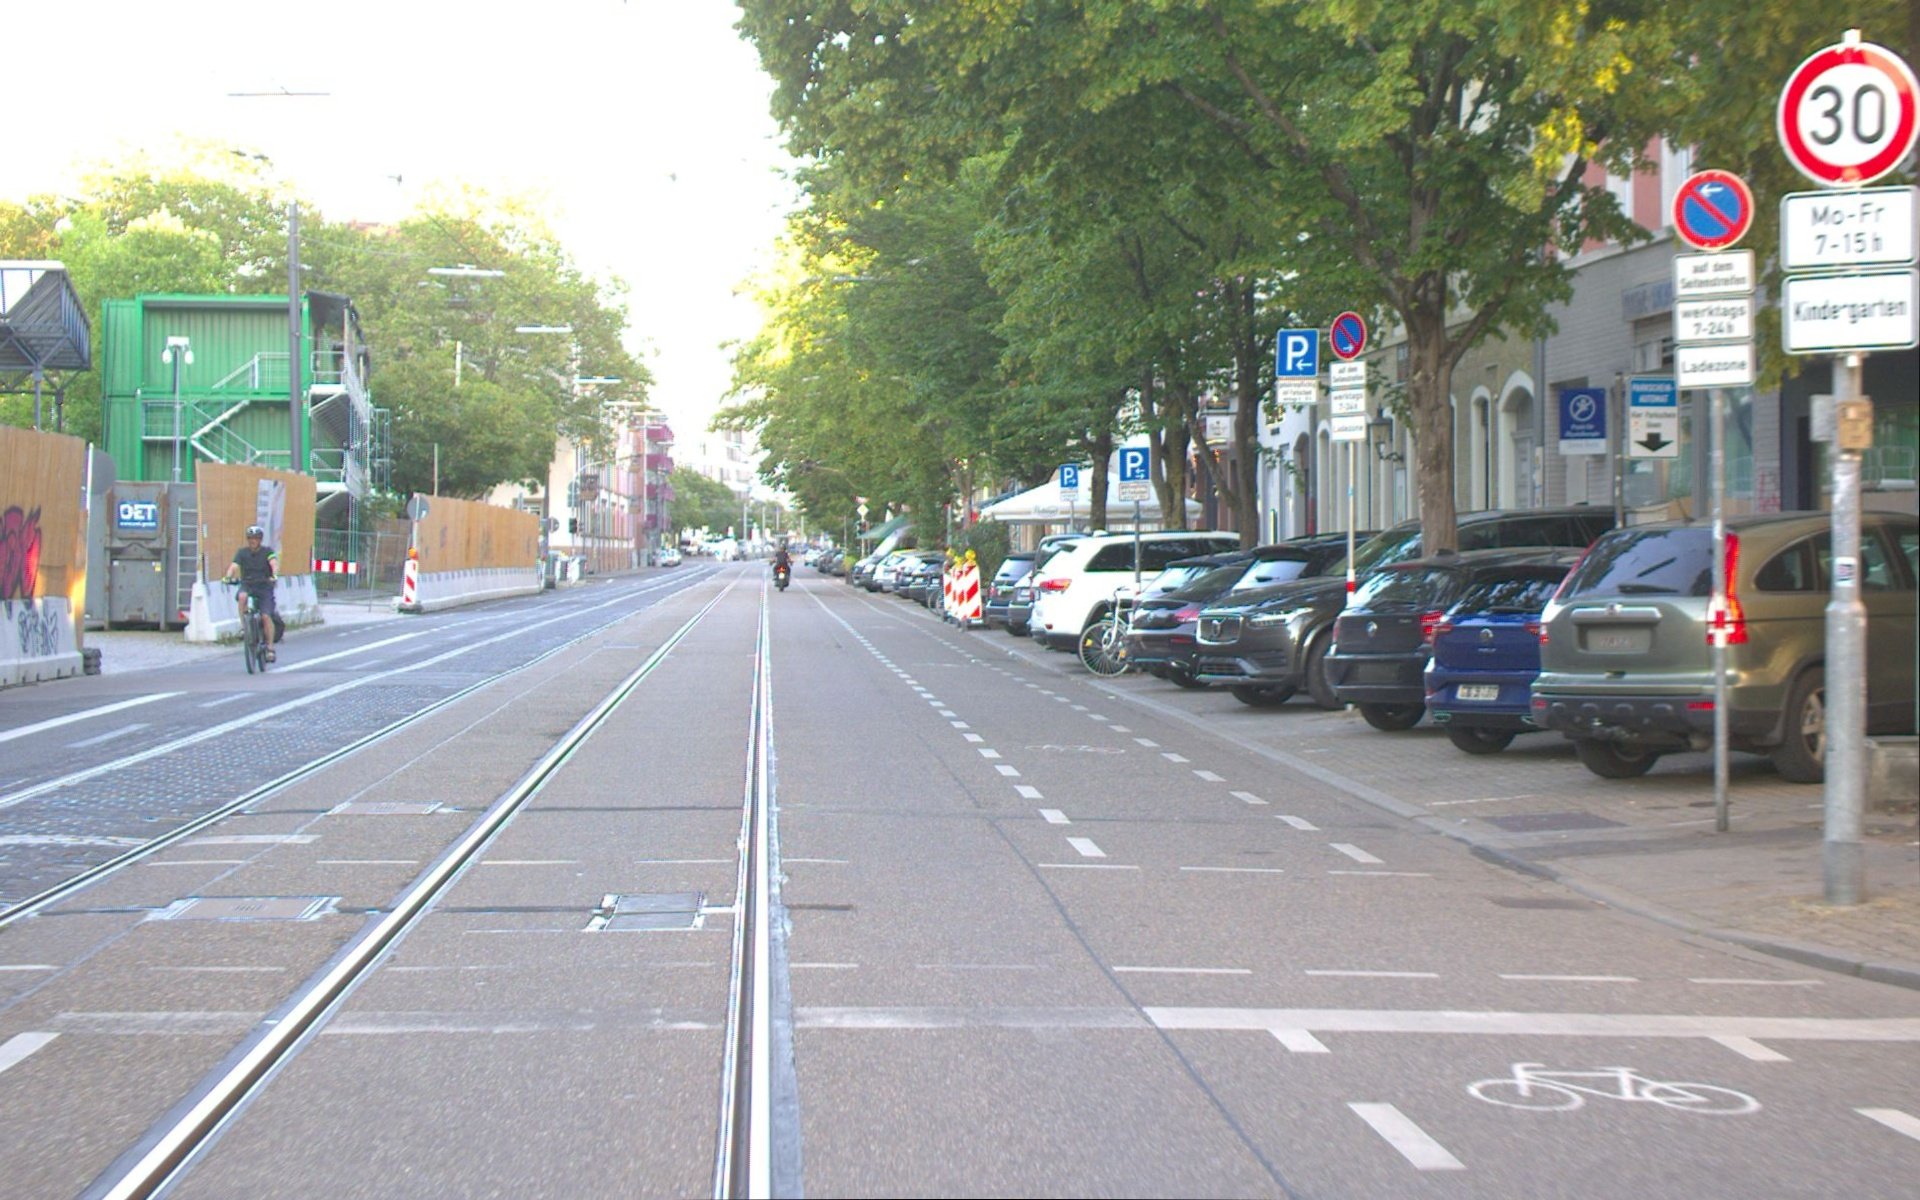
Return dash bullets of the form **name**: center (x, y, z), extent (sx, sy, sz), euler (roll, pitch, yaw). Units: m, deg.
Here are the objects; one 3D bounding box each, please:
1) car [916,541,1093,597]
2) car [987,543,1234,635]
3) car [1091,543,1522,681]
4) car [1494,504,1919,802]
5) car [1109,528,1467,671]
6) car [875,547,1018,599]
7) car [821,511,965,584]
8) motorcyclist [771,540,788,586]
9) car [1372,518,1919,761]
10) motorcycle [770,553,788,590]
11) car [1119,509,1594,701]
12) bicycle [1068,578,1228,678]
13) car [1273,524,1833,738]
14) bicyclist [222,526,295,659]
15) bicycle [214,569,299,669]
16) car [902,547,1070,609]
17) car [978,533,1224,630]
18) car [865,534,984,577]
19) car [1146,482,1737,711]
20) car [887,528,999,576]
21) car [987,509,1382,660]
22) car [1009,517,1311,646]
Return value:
- **car**: center (1.137, -0.799, 88.443), extent (4.160, 1.421, 1.824), euler (0, 1, -22)
- **car**: center (2.536, -0.193, 57.877), extent (3.772, 1.403, 1.706), euler (-2, 1, -28)
- **car**: center (3.746, 0.099, 37.180), extent (4.211, 1.422, 1.976), euler (0, 1, -25)
- **car**: center (5.598, 0.257, 22.133), extent (4.156, 1.658, 1.842), euler (-4, 2, -37)
- **car**: center (3.813, -0.023, 39.893), extent (3.746, 1.421, 1.727), euler (-3, 1, -27)
- **car**: center (-0.444, -0.881, 111.043), extent (4.249, 1.543, 2.020), euler (-2, 1, -13)
- **car**: center (-2.597, -2.037, 132.882), extent (5.094, 2.633, 2.022), euler (-2, 0, -20)
- **motorcyclist**: center (-6.770, -1.383, 128.927), extent (0.645, 1.691, 1.026), euler (0, 0, -4)
- **car**: center (5.124, 0.251, 25.138), extent (3.882, 1.497, 1.813), euler (-4, 2, -33)
- **motorcycle**: center (-6.771, -1.070, 128.840), extent (0.645, 1.364, 1.812), euler (0, 0, -4)
- **car**: center (3.958, 0.023, 34.397), extent (4.211, 1.643, 1.976), euler (-3, 1, -21)
- **bicycle**: center (2.283, 0.330, 41.713), extent (1.835, 1.099, 0.498), euler (-3, 2, -16)
- **car**: center (4.855, 0.217, 28.035), extent (4.154, 1.460, 1.971), euler (-4, 1, -31)
- **bicyclist**: center (-8.850, -0.104, 43.400), extent (0.768, 1.660, 1.018), euler (0, 1, -3)
- **bicycle**: center (-8.865, 0.228, 43.384), extent (0.768, 1.224, 1.936), euler (0, 1, -3)
- **car**: center (0.711, -0.599, 93.590), extent (4.115, 1.465, 1.824), euler (-3, 1, -21)
- **car**: center (2.486, -0.333, 60.508), extent (3.961, 1.548, 1.706), euler (-2, 1, -28)
- **car**: center (-1.310, -1.674, 128.297), extent (3.950, 1.481, 1.921), euler (-2, 0, -27)
- **car**: center (4.504, -0.065, 32.219), extent (4.963, 1.820, 2.209), euler (-3, 1, -21)
- **car**: center (-0.637, -1.730, 124.475), extent (3.950, 1.614, 1.921), euler (-2, 0, -2)
- **car**: center (2.819, -0.213, 43.807), extent (4.648, 1.682, 2.008), euler (-3, 1, -8)
- **car**: center (3.057, -0.298, 52.451), extent (4.147, 1.800, 2.008), euler (-2, 1, -31)
